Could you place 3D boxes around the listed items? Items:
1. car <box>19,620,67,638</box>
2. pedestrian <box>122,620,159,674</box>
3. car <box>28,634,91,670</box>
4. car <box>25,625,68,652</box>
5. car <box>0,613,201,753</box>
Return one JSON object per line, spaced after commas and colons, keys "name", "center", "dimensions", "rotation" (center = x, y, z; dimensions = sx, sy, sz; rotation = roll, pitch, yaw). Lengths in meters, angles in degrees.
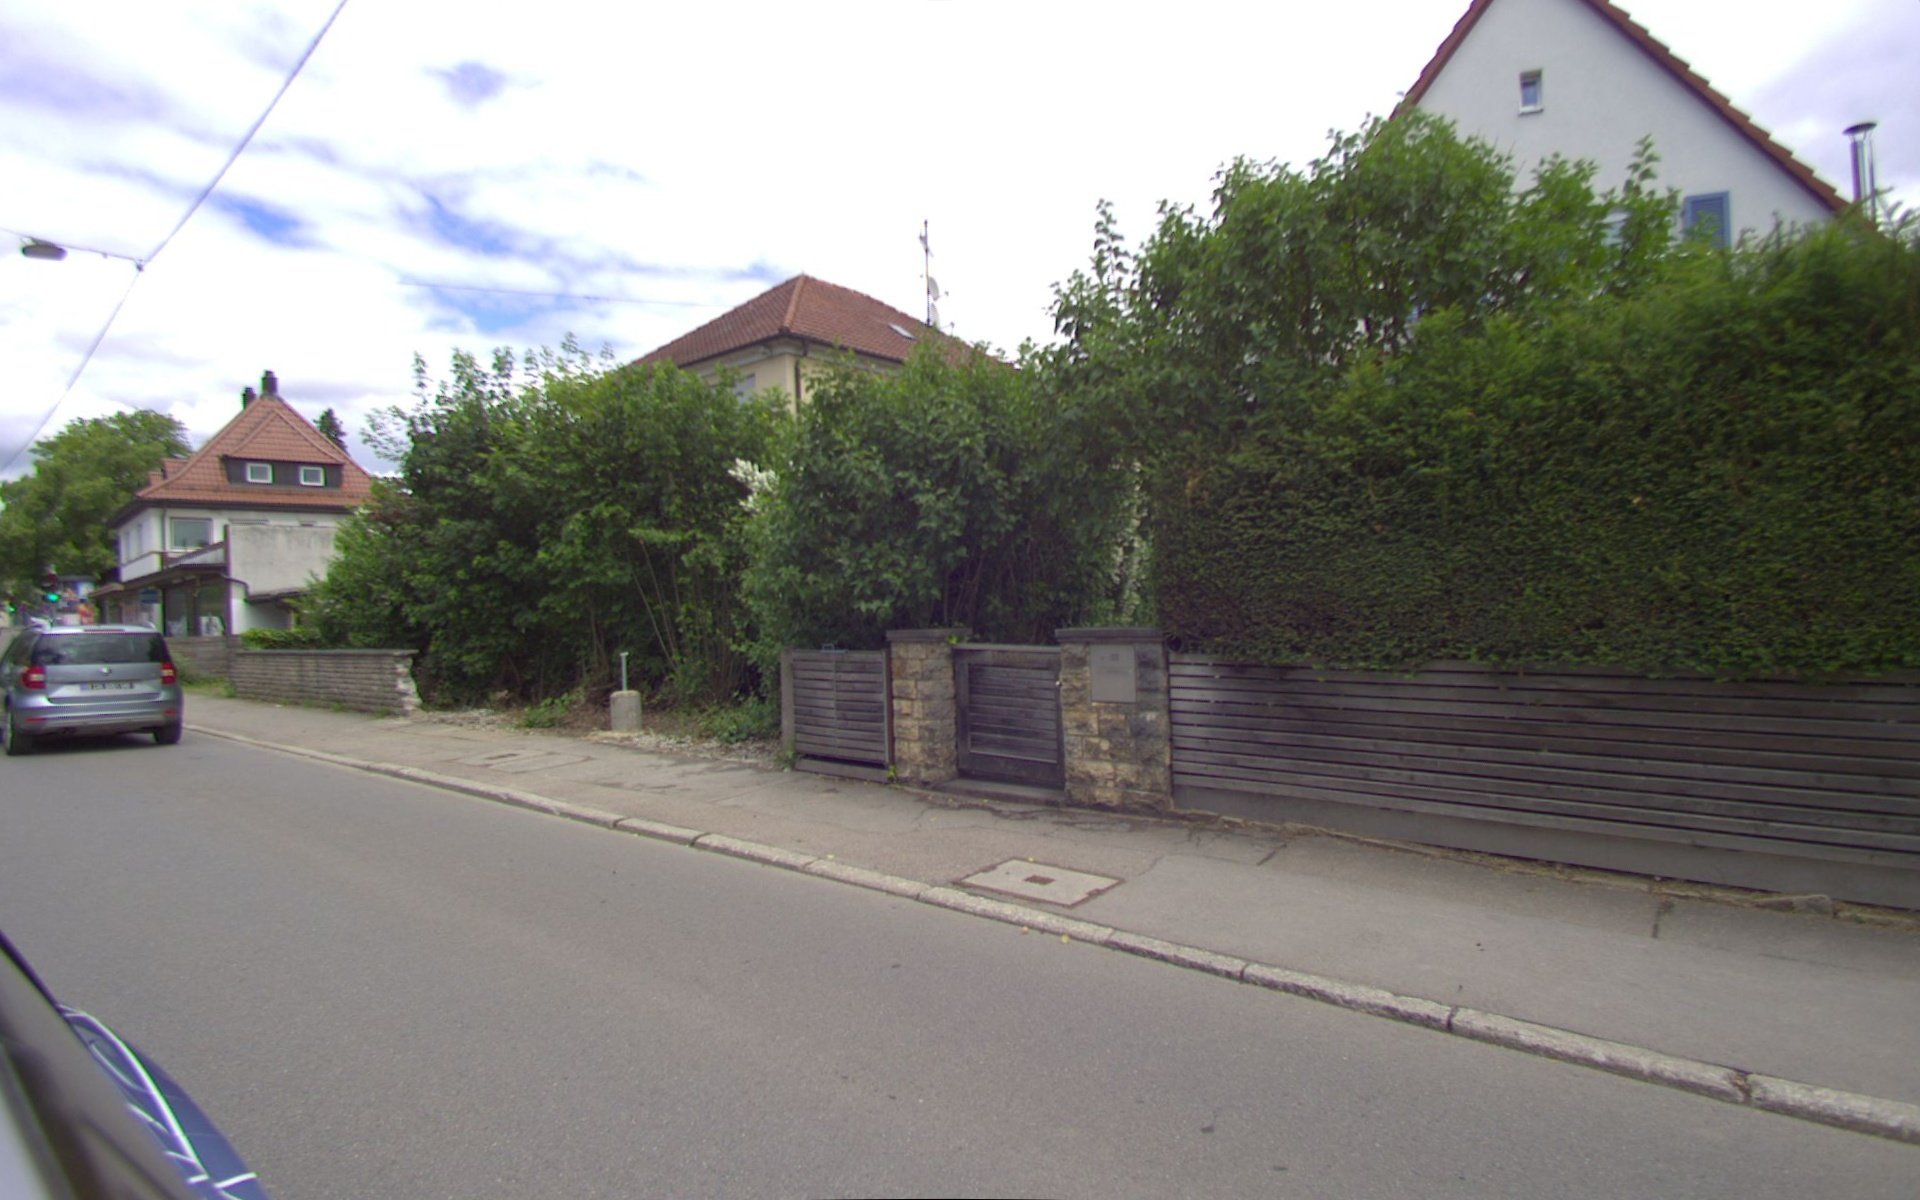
{"name": "car", "center": [-108.181, 3.416, 119.411], "dimensions": [3.935, 1.752, 2.005], "rotation": [-4, 2, -36]}
{"name": "pedestrian", "center": [-27.850, 1.596, 34.401], "dimensions": [0.604, 1.757, 0.811], "rotation": [-1, 2, 42]}
{"name": "car", "center": [-40.140, 2.290, 45.166], "dimensions": [1.795, 1.361, 3.399], "rotation": [-4, 2, -38]}
{"name": "car", "center": [-63.554, 2.659, 70.386], "dimensions": [3.998, 1.690, 1.749], "rotation": [-1, 2, 42]}
{"name": "car", "center": [-12.282, 1.059, 14.064], "dimensions": [4.134, 1.668, 1.822], "rotation": [-2, -3, 39]}
